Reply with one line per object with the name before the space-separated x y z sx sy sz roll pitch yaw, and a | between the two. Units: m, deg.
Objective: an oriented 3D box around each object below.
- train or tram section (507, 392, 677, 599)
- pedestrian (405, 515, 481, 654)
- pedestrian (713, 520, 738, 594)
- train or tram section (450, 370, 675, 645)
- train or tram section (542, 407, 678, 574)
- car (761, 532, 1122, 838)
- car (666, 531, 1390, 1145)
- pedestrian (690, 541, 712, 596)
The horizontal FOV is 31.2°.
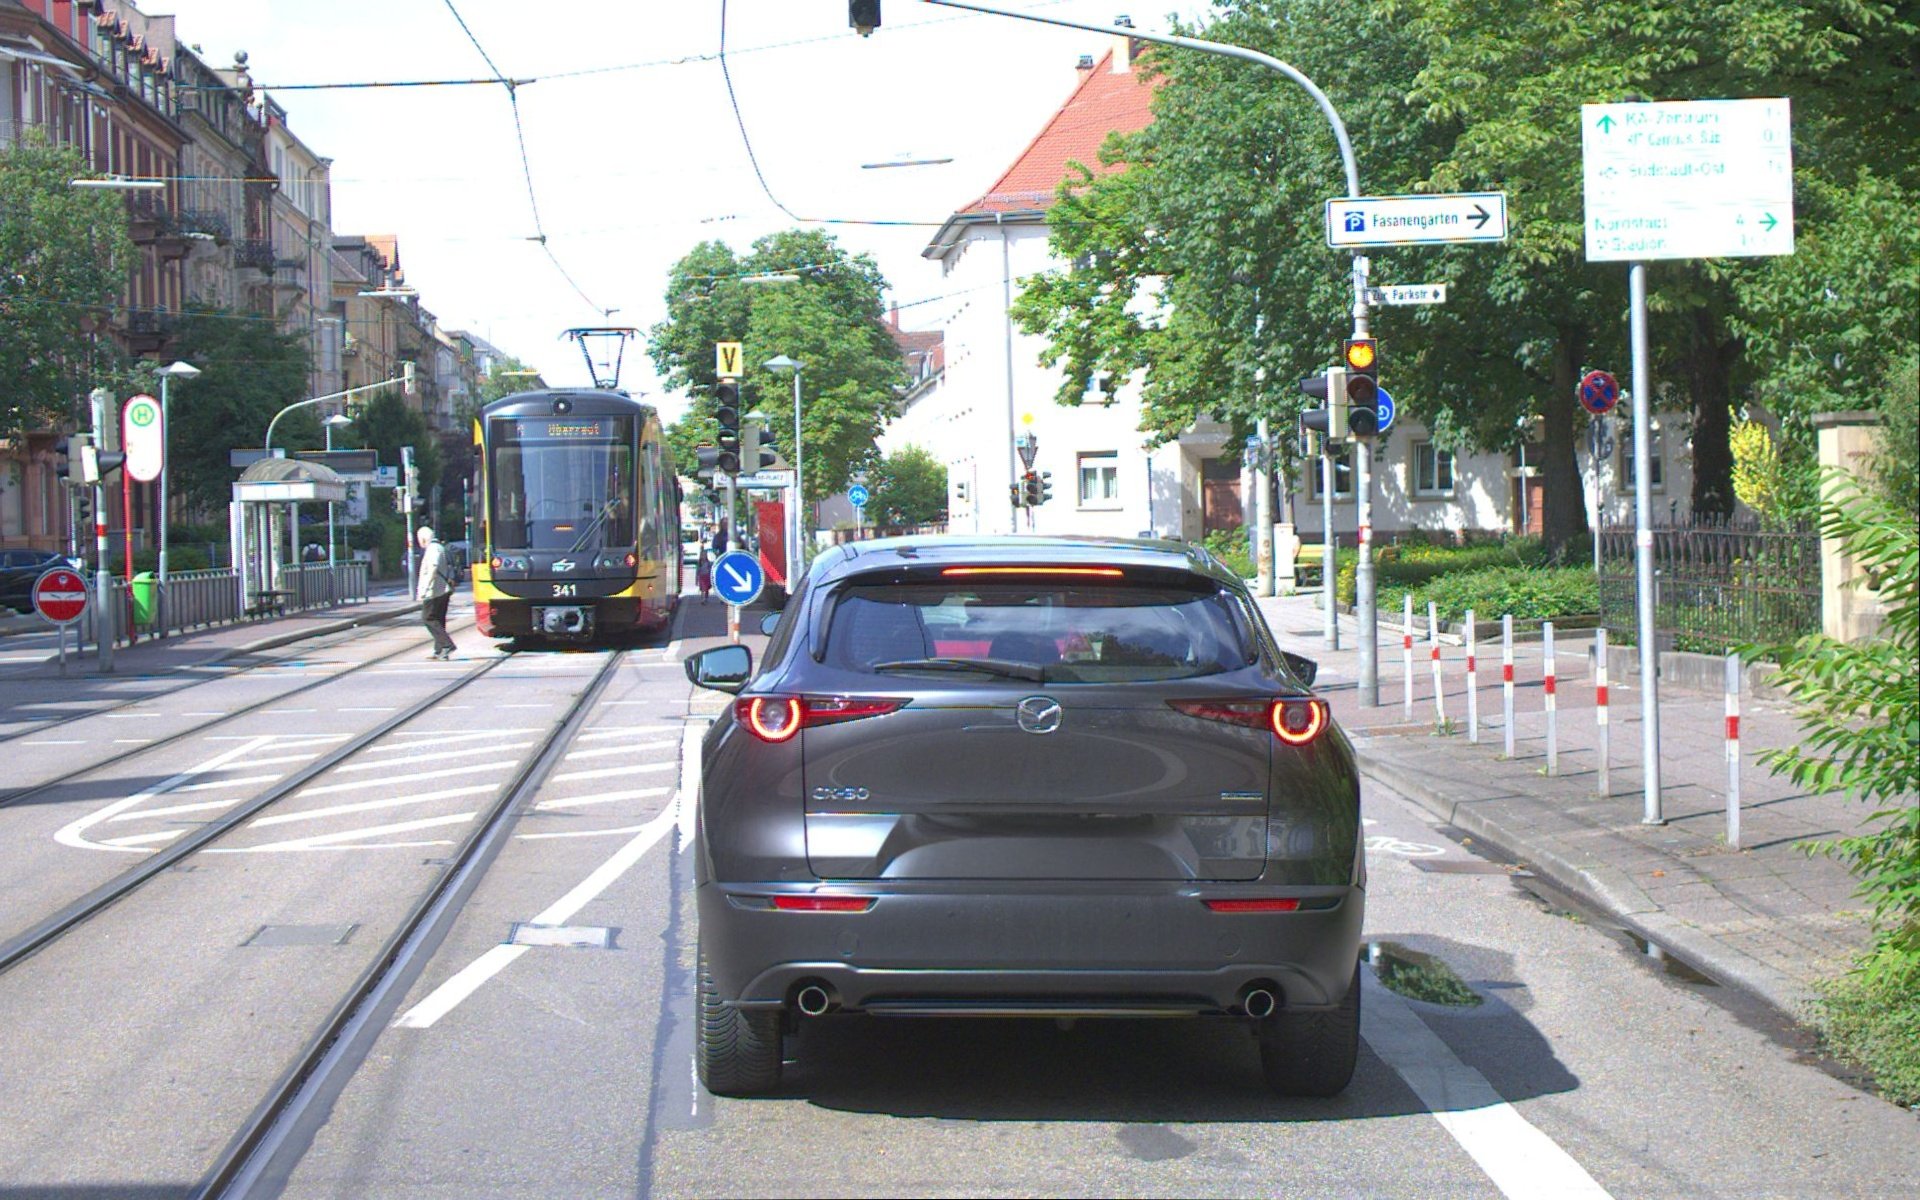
train or tram section | -6.859 -2.048 65.776 2.752 3.478 14.411 -1 2 -5
pedestrian | -6.444 -0.201 42.868 0.717 1.699 0.824 -1 1 5
pedestrian | -4.578 -0.841 66.991 0.450 1.429 0.474 -1 1 -5
train or tram section | -5.707 -1.453 51.427 2.752 3.478 14.411 -1 2 -5
train or tram section | -8.011 -2.591 80.133 2.752 3.478 14.411 -1 2 -5
car | -0.126 0.384 19.152 1.778 1.494 4.000 1 1 -1
car | 0.137 0.553 10.546 1.778 1.494 4.000 1 1 -1
pedestrian | -5.039 -0.617 66.902 0.379 1.067 0.474 -1 1 -3
